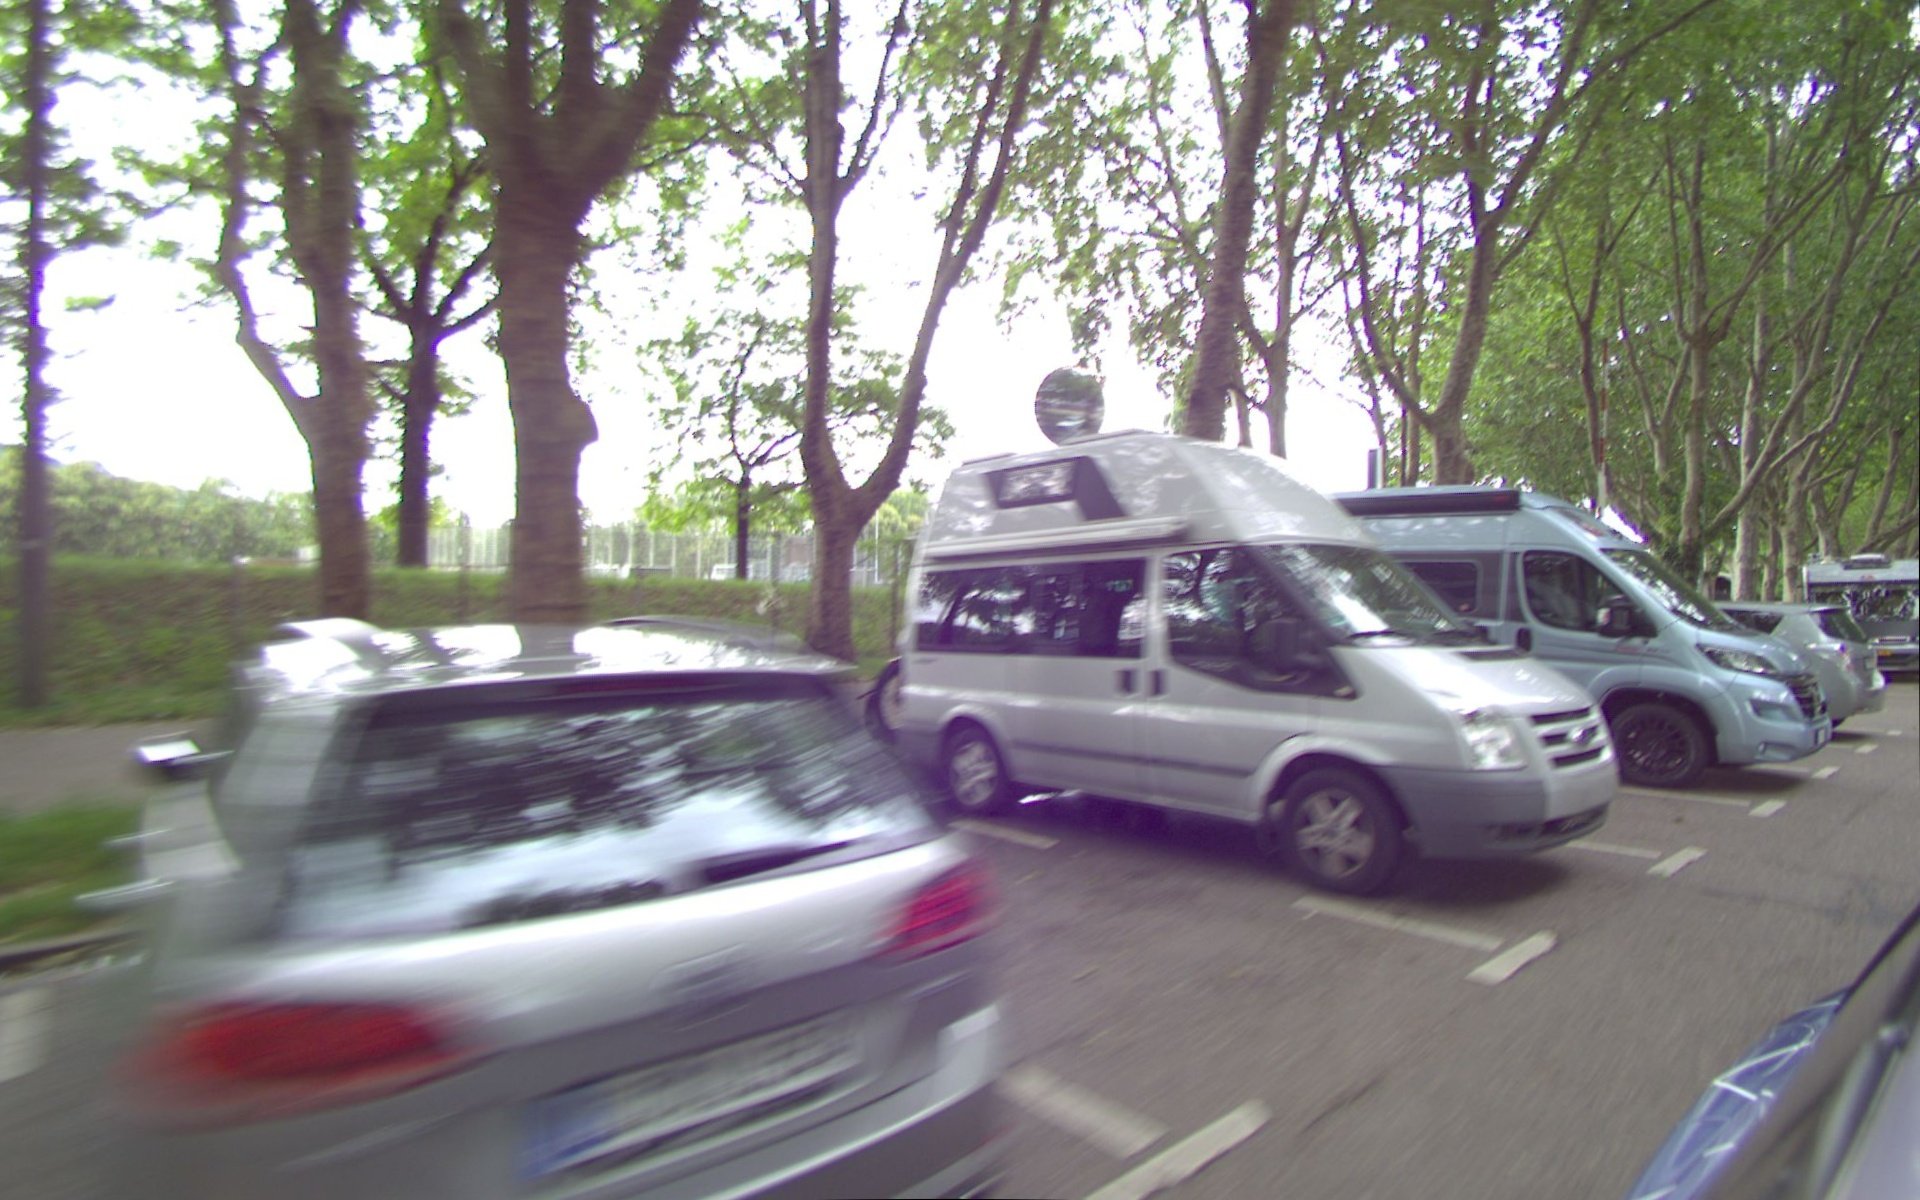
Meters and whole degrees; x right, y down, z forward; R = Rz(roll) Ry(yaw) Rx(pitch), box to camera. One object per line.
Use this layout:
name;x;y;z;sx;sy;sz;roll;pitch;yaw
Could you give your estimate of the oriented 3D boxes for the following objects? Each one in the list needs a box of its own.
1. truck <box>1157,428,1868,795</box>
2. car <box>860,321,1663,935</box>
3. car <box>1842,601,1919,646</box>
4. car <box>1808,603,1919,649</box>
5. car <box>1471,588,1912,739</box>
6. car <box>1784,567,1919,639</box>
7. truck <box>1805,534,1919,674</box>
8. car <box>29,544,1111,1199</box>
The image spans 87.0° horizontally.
truck;5.204;0.078;10.697;2.060;2.749;6.307;0;0;-39
car;1.563;0.140;7.128;1.922;2.724;5.238;0;-1;-40
car;31.896;0.777;33.222;4.351;1.464;1.589;0;0;39
car;27.813;0.752;29.660;1.670;1.318;4.328;0;0;-40
car;9.313;0.725;13.245;1.770;1.639;4.350;0;-1;-38
car;36.620;0.098;39.458;6.877;2.729;2.094;0;0;43
truck;22.307;0.089;24.773;2.455;2.975;7.428;0;0;40
car;-1.629;0.723;3.219;1.672;1.447;4.128;0;-2;-39
